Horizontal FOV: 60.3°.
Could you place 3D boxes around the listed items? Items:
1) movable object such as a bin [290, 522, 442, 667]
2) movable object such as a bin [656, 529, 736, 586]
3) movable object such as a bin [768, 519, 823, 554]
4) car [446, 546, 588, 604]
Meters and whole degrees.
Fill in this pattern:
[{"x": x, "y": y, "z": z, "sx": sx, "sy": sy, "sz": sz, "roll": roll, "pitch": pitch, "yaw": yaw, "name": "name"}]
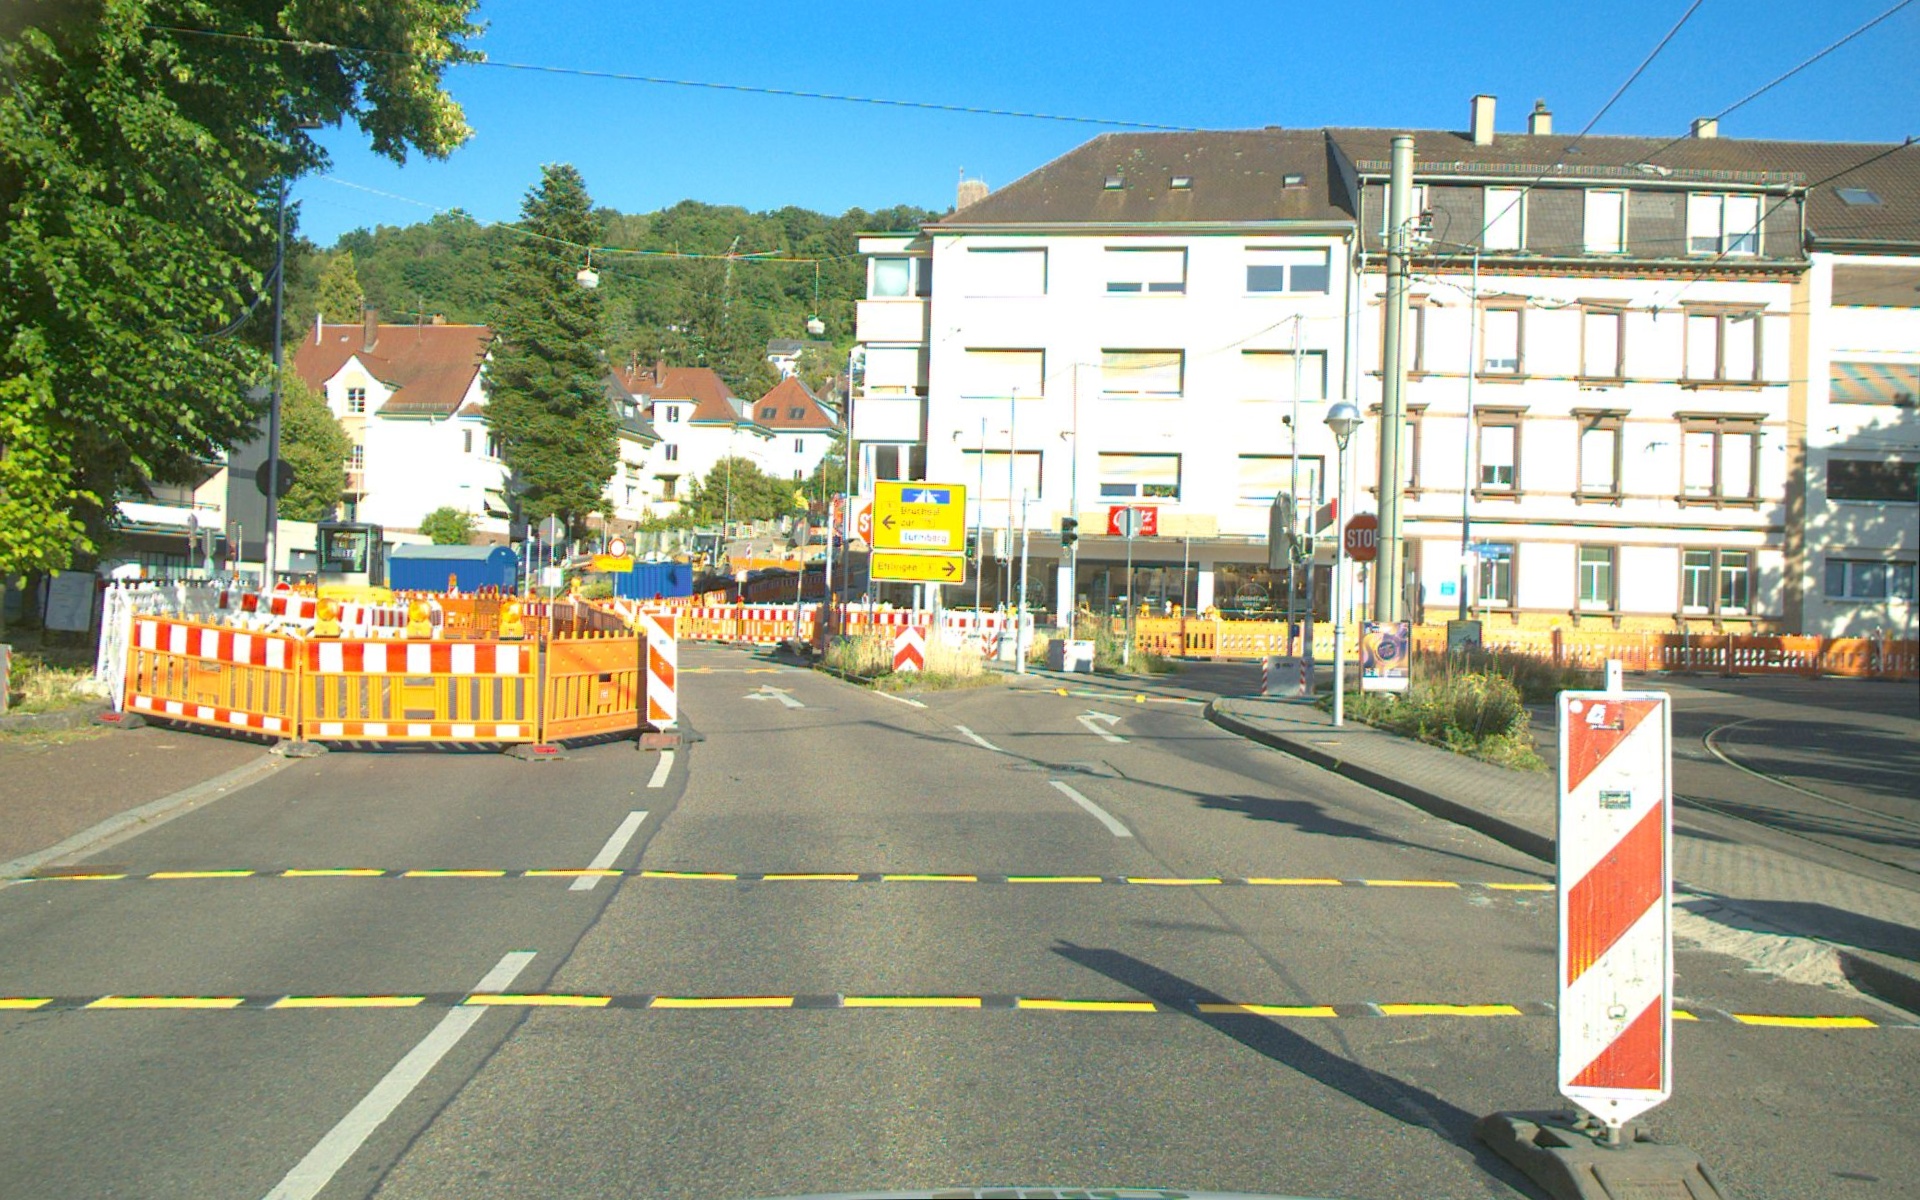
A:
[{"x": -10.445, "y": -0.098, "z": 29.337, "sx": 1.615, "sy": 2.365, "sz": 3.916, "roll": 1, "pitch": 0, "yaw": -6, "name": "movable object such as a bin"}, {"x": -12.535, "y": -2.008, "z": 78.785, "sx": 1.907, "sy": 2.538, "sz": 4.554, "roll": 1, "pitch": 0, "yaw": 17, "name": "movable object such as a bin"}, {"x": -11.376, "y": -4.395, "z": 114.735, "sx": 2.510, "sy": 2.159, "sz": 5.789, "roll": 1, "pitch": 0, "yaw": 8, "name": "movable object such as a bin"}, {"x": -17.535, "y": -0.947, "z": 65.888, "sx": 2.529, "sy": 2.158, "sz": 6.154, "roll": 1, "pitch": 0, "yaw": 17, "name": "car"}]
